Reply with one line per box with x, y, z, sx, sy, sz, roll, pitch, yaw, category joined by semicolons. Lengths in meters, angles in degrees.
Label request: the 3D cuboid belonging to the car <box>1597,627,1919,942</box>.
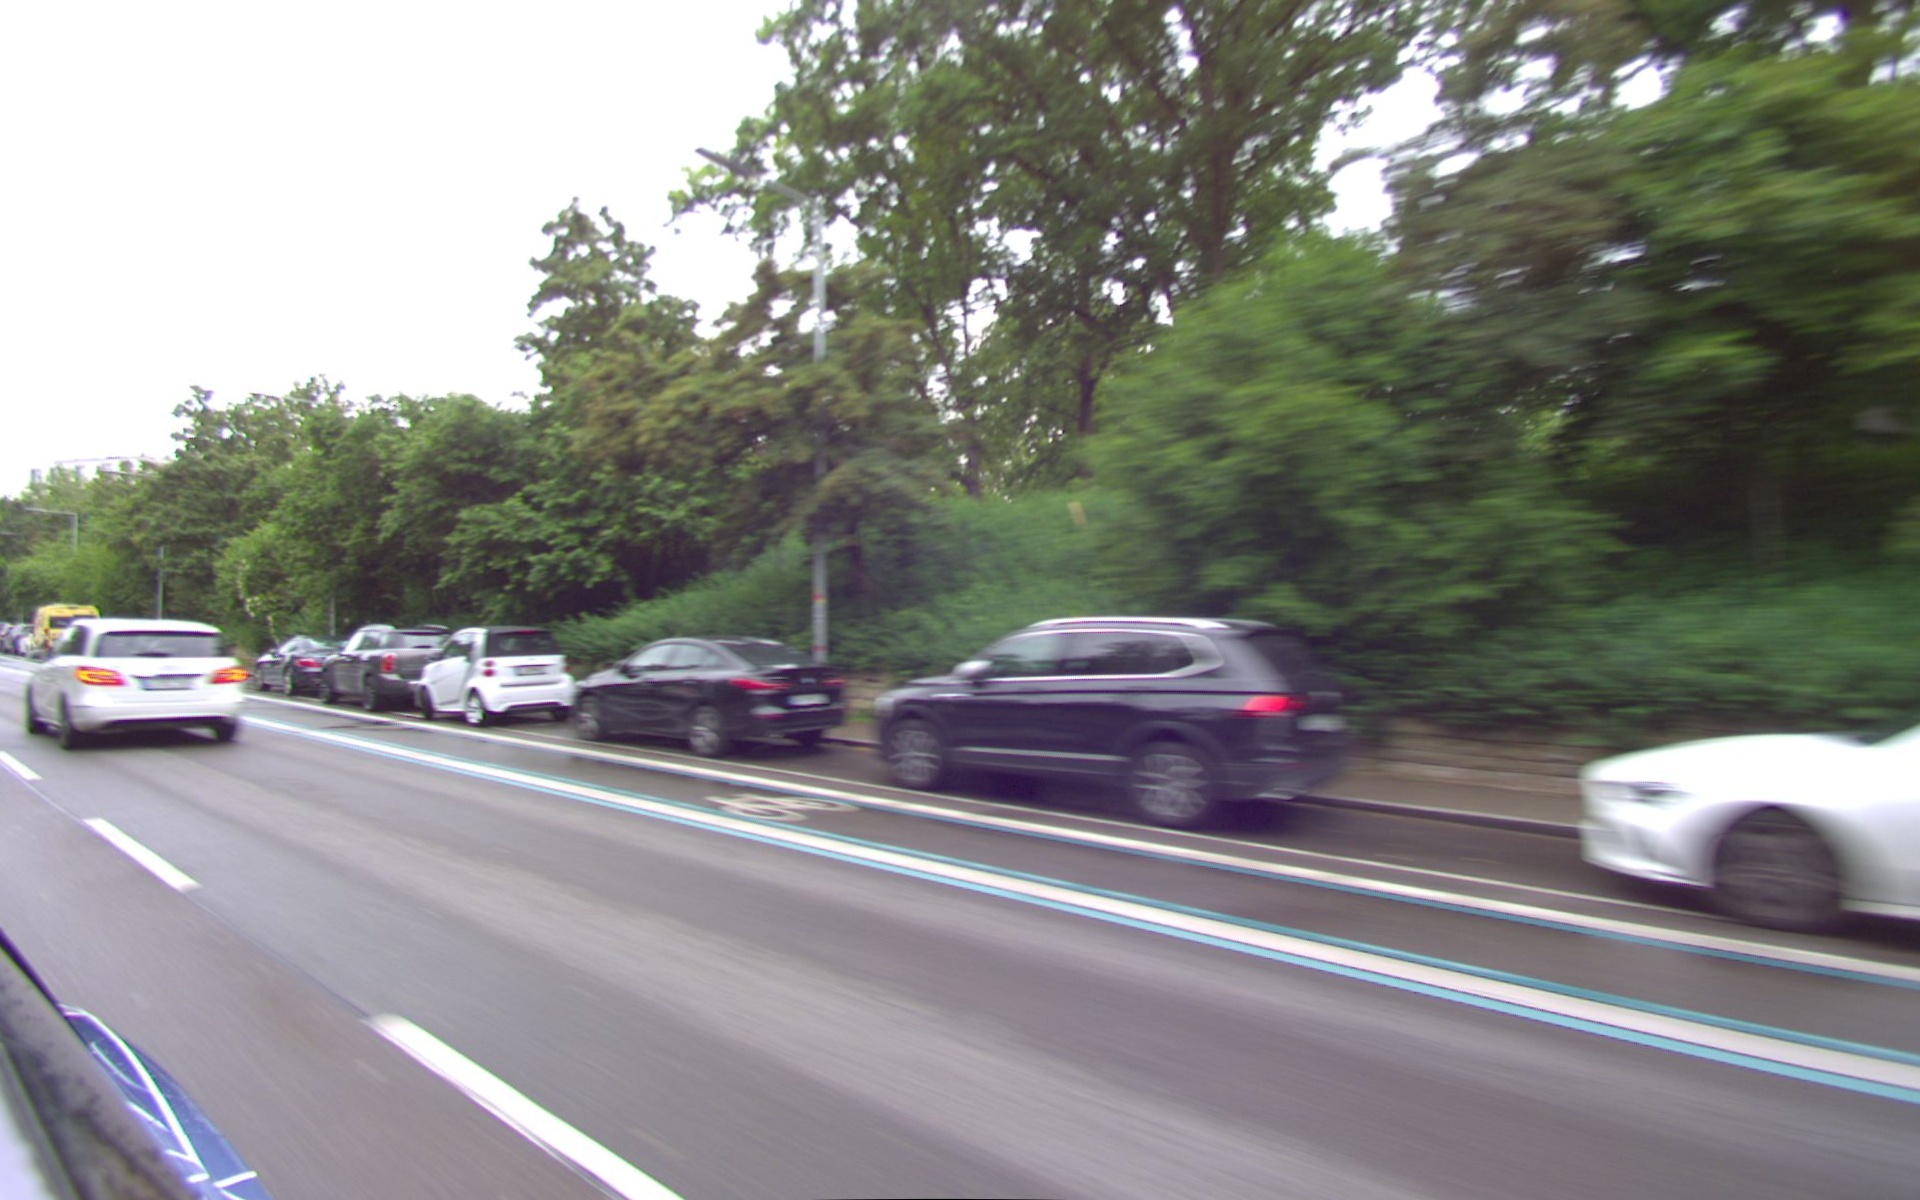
6.022;0.915;4.914;4.751;1.509;1.788;-1;-2;41;car

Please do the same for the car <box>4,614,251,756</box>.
-11.143;1.029;13.450;4.255;1.592;1.767;-1;-3;40;car

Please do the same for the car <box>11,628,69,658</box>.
-47.069;2.173;51.755;3.557;1.446;1.802;-2;-2;41;car

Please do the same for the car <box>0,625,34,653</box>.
-54.693;2.247;58.165;3.557;1.535;1.802;-2;-2;41;car

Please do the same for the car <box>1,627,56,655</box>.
-50.257;2.215;54.576;3.557;1.446;1.802;-2;-2;41;car

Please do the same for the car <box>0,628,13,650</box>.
-63.052;2.548;65.792;3.557;1.446;1.802;-2;-2;41;car

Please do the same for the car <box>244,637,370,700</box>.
-14.962;1.506;23.135;3.595;1.303;1.494;-2;-2;41;car

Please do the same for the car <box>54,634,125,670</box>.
-37.134;2.171;43.127;3.557;1.446;1.802;-2;-2;41;car

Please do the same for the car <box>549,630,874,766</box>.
-3.414;1.157;13.406;4.550;1.486;1.877;-2;-2;40;car

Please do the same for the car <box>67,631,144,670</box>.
-34.189;1.974;40.464;3.557;1.490;1.802;-1;-3;41;car

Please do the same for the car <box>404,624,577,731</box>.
-7.793;1.217;16.740;2.858;1.606;1.508;-2;-3;40;car

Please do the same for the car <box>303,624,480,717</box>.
-11.038;1.287;19.564;3.991;1.600;1.795;-2;-2;42;car

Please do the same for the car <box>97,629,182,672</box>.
-29.903;1.805;36.846;3.771;1.446;1.802;-2;-2;41;car

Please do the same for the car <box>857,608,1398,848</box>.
1.300;0.961;9.262;4.669;1.673;1.718;-2;-2;40;car

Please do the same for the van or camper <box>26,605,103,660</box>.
-41.843;1.497;47.251;4.434;2.470;2.137;-1;-2;41;van or camper

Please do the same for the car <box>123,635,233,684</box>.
-23.113;1.703;29.855;4.204;1.303;1.802;-2;-2;41;car
